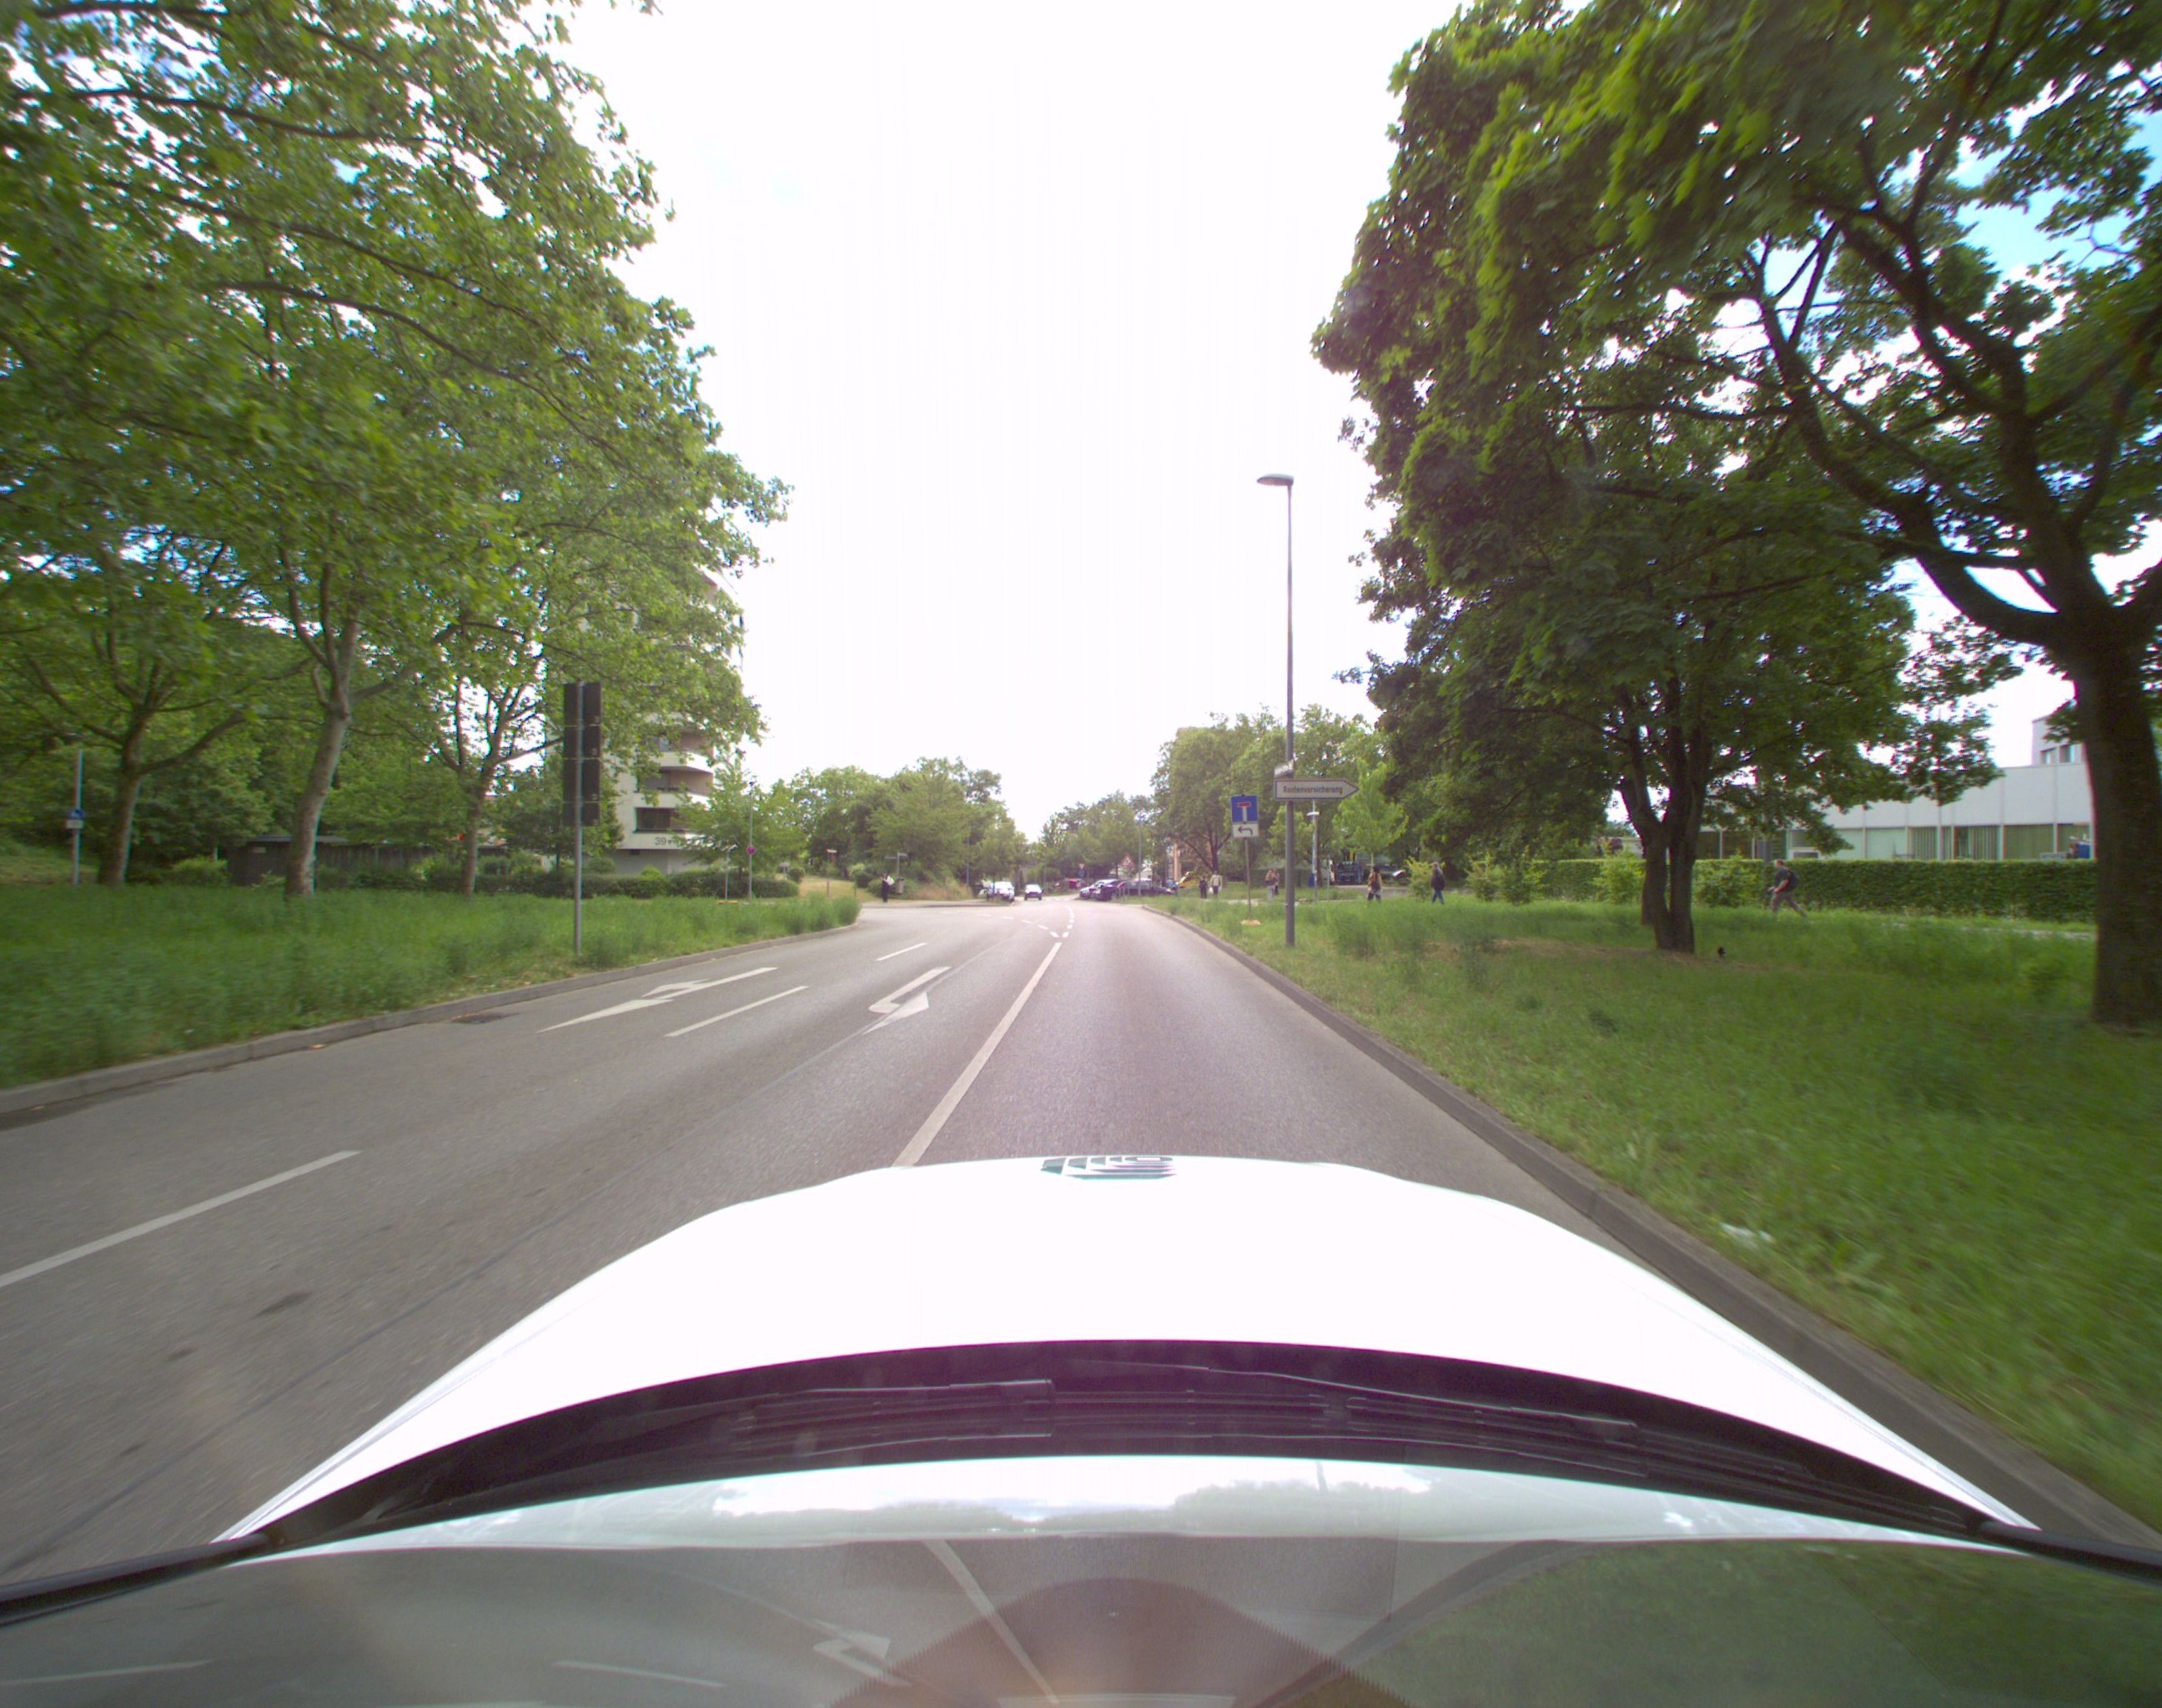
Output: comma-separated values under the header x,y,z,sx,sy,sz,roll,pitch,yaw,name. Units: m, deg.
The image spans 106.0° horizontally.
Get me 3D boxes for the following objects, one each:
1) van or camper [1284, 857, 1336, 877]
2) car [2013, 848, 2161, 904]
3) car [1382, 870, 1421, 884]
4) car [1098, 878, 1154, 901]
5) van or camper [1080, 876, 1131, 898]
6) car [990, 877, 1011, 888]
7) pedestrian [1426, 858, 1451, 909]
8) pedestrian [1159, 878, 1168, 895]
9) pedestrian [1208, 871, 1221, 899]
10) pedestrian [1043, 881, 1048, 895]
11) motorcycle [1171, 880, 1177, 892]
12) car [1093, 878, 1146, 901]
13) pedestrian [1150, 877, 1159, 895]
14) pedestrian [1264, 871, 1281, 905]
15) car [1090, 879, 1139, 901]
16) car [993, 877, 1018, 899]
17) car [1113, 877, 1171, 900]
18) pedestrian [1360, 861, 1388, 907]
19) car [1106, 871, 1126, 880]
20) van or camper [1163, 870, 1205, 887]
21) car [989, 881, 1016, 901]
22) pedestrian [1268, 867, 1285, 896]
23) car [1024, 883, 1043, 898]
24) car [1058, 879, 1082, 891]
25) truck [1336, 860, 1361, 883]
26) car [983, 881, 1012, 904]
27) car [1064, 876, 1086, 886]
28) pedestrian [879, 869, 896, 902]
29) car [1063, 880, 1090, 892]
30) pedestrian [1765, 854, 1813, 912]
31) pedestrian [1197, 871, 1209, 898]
x,y,z,sx,sy,sz,roll,pitch,yaw,name
22.861,1.302,81.282,4.627,1.914,1.783,0,0,31,van or camper
32.982,0.664,26.573,1.581,1.676,3.122,1,1,-30,car
37.964,2.714,96.584,3.907,1.500,1.772,-1,0,1,car
3.165,2.547,58.105,3.907,1.501,1.771,-1,-4,1,car
2.301,3.120,77.505,4.667,1.870,1.768,-1,0,-7,van or camper
-9.570,3.388,96.623,1.209,1.337,2.576,2,-2,-39,car
12.377,1.004,28.180,0.768,1.722,0.827,0,0,22,pedestrian
6.906,2.701,68.037,0.687,1.424,0.753,0,-2,1,pedestrian
8.475,1.986,51.885,0.796,1.722,0.825,0,0,8,pedestrian
-4.946,4.751,113.413,0.721,1.864,0.648,-1,0,-10,pedestrian
6.970,2.385,60.927,0.450,0.794,1.266,-1,0,8,motorcycle
2.849,2.647,60.838,3.907,1.631,1.771,-1,-4,1,car
6.111,2.661,68.011,0.687,1.504,0.753,0,-2,1,pedestrian
9.191,1.615,39.183,0.769,1.596,0.826,-1,0,12,pedestrian
2.683,2.888,65.929,3.907,1.630,1.772,-1,0,1,car
-6.332,2.821,68.644,1.761,1.753,3.932,-1,-1,-2,car
4.137,2.386,55.856,3.907,1.469,1.771,-1,-4,1,car
11.242,1.156,31.261,0.772,1.722,0.823,0,0,-2,pedestrian
6.572,4.124,153.579,3.550,1.654,1.611,1,-2,-19,car
13.716,3.271,108.304,5.281,2.041,2.058,-1,0,-3,van or camper
-6.029,2.834,62.954,1.761,1.500,3.932,-1,-2,-2,car
11.641,1.650,48.574,0.767,1.694,0.828,0,0,30,pedestrian
-5.037,3.868,86.897,1.969,1.464,3.931,-1,-2,-2,car
-1.666,4.721,123.745,3.536,1.654,1.617,1,-2,-7,car
28.341,1.792,86.062,2.307,2.296,5.924,1,0,20,truck
-5.904,2.695,57.800,1.761,1.500,3.932,-1,-1,-2,car
-0.973,4.540,138.740,3.524,1.654,1.623,0,-2,4,car
-10.184,1.645,42.859,0.823,1.722,0.772,0,0,-19,pedestrian
-0.638,4.608,117.371,3.550,1.564,1.611,1,-2,-19,car
18.275,0.728,21.011,0.837,1.452,0.691,1,0,-30,pedestrian
8.040,1.979,53.510,0.770,1.722,0.825,0,0,9,pedestrian
